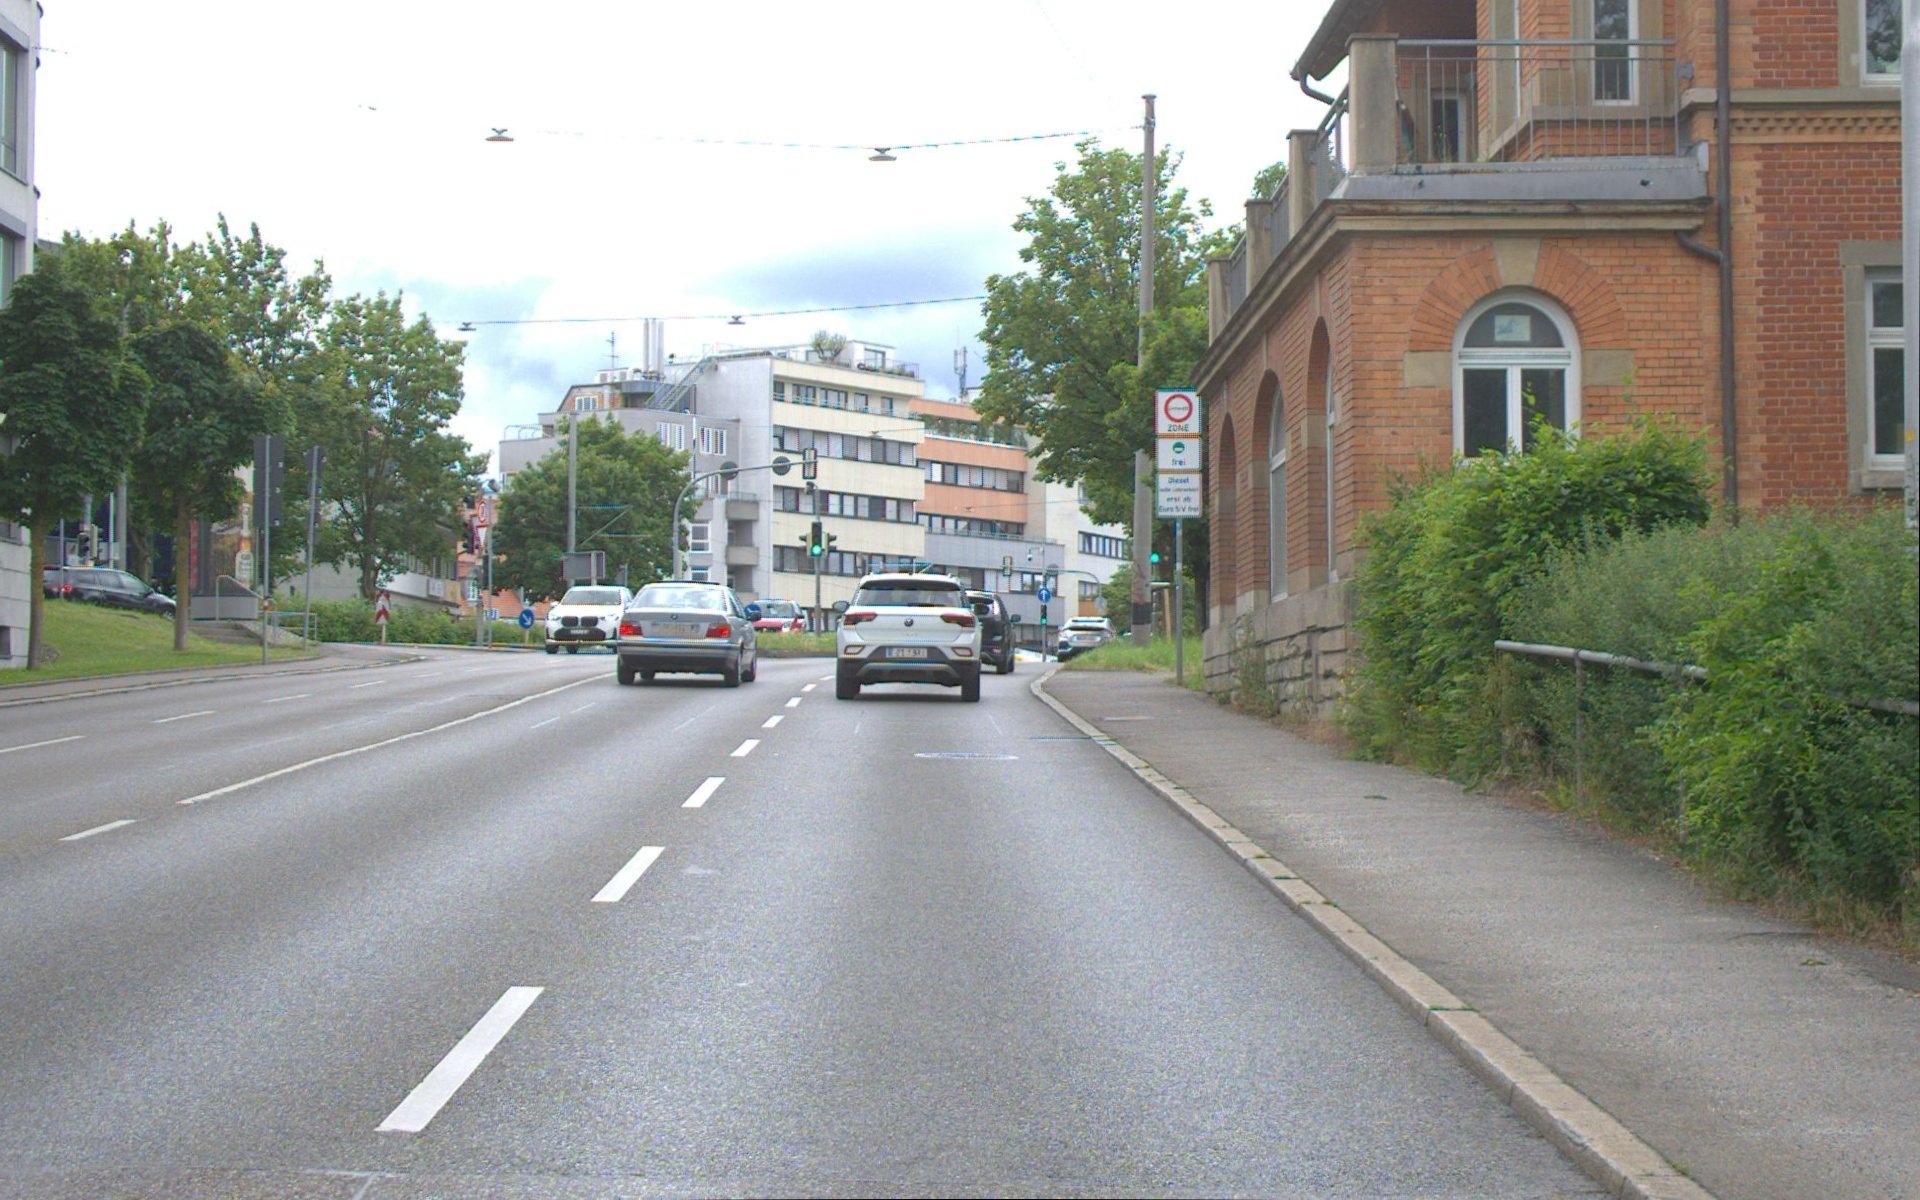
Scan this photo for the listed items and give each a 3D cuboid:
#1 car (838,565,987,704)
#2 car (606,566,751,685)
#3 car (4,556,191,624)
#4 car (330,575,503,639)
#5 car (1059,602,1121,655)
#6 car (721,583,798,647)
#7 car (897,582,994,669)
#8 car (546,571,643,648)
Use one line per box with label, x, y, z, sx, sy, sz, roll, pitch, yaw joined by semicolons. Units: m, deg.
car;-0.596;0.396;43.112;1.700;1.543;3.736;3;1;-1
car;-3.779;0.312;46.671;1.699;1.511;3.736;0;1;-1
car;-19.958;-0.218;79.725;1.778;1.458;4.434;2;0;25
car;-13.602;0.191;86.169;1.780;1.539;3.990;0;-1;44
car;4.001;0.845;105.187;1.770;1.565;4.284;0;0;4
car;-5.618;0.408;96.628;1.869;1.696;4.429;-2;0;0
car;-0.251;0.486;62.854;1.700;1.511;3.493;1;-1;0
car;-8.982;0.215;84.854;1.869;1.783;4.654;-2;0;0
